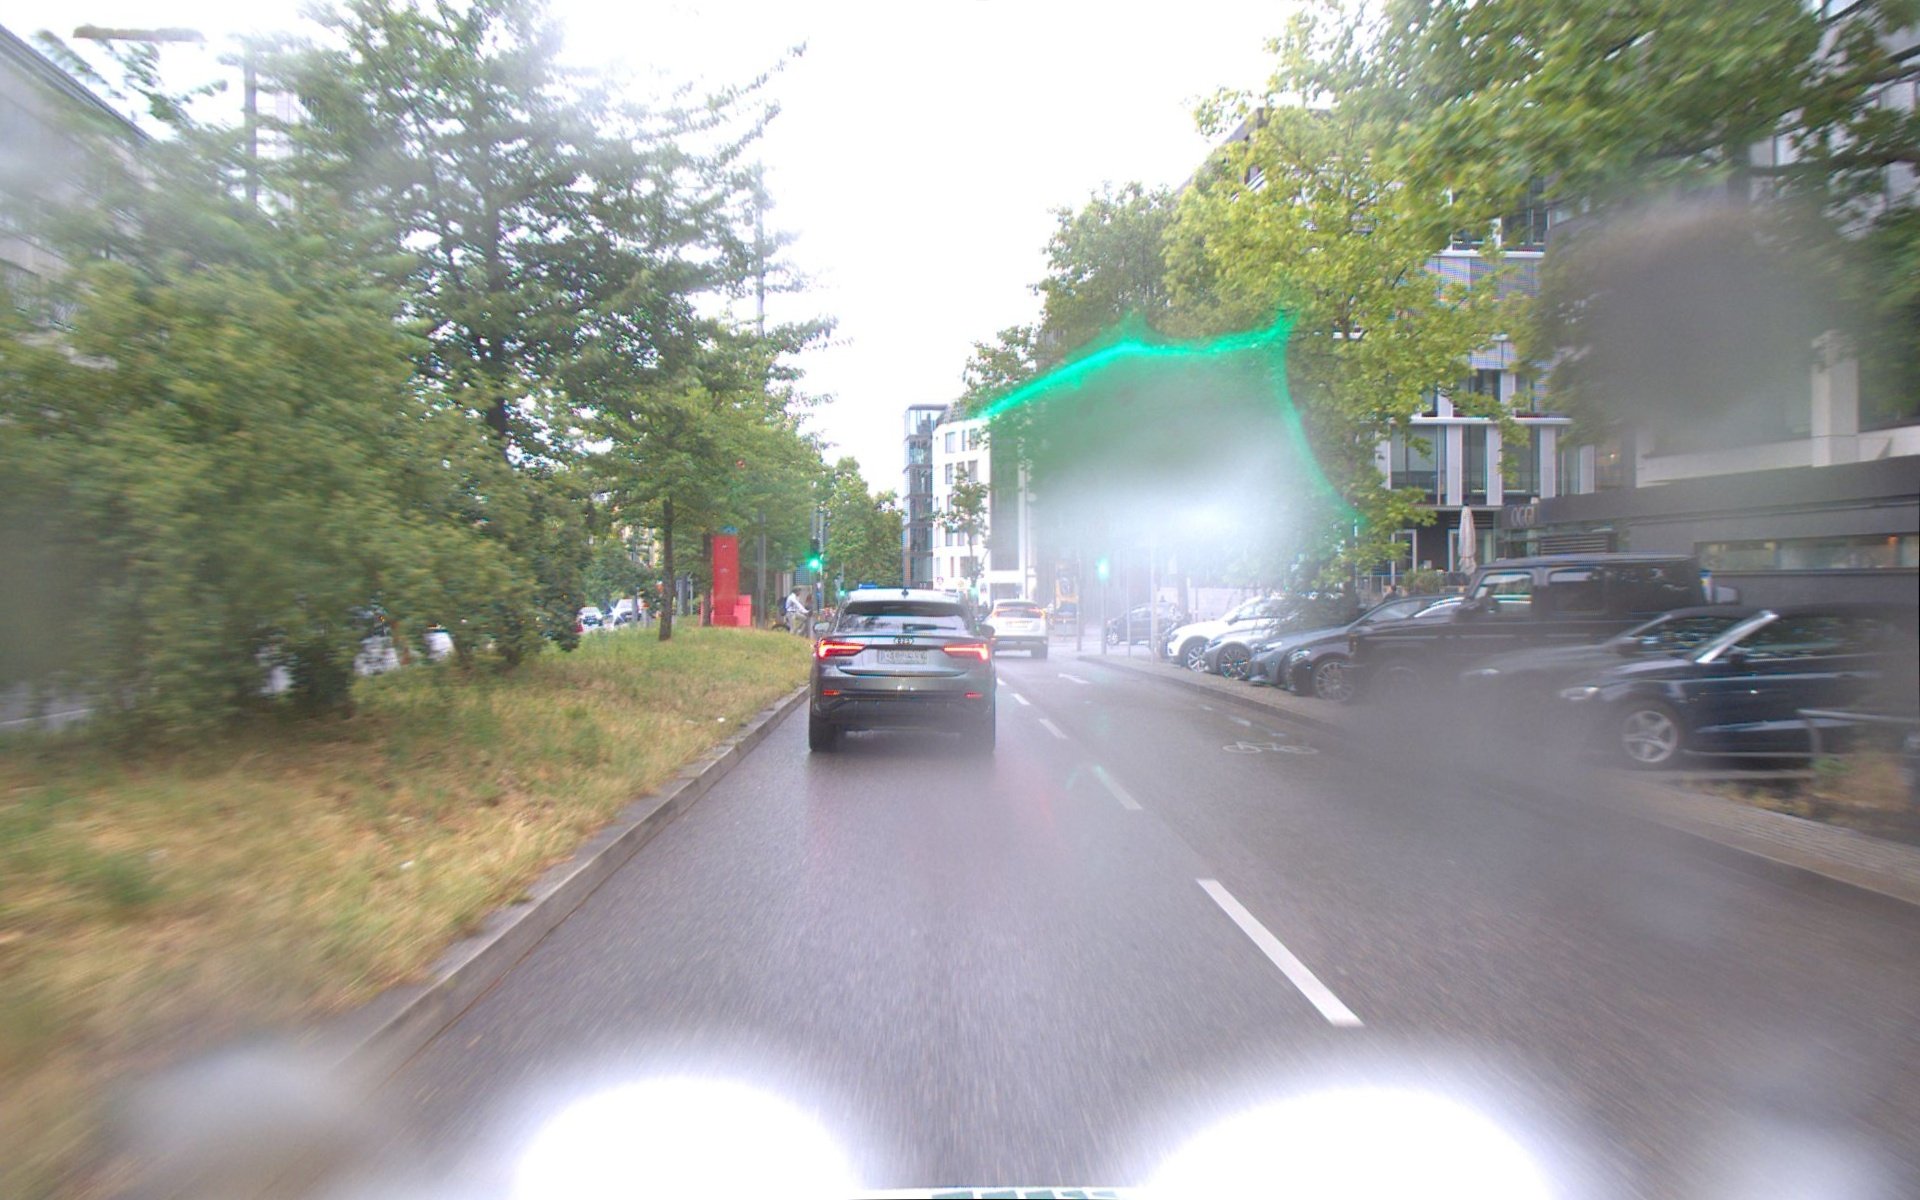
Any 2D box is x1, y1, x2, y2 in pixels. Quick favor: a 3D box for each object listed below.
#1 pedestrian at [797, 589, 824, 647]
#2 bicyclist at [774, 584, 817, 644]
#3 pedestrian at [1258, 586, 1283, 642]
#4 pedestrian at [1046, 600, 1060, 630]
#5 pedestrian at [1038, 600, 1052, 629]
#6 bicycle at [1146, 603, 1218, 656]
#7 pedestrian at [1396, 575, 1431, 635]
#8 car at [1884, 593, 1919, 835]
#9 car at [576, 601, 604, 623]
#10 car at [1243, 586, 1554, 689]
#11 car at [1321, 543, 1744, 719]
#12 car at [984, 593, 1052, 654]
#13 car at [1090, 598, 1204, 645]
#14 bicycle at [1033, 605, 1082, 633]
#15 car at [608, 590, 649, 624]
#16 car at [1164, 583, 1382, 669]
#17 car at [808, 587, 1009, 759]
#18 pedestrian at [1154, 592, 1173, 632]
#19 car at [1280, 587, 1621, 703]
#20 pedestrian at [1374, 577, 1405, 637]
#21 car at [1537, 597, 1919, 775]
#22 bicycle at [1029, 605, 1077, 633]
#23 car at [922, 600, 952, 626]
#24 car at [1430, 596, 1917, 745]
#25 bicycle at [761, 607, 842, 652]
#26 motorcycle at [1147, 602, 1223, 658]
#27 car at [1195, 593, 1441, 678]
[{"bbox_3d":[-4.741,0.580,52.480,0.647,1.825,0.751,1,-1,12],"label":"pedestrian"},{"bbox_3d":[-4.760,0.404,47.877,1.082,1.650,0.750,3,-1,-1],"label":"bicyclist"},{"bbox_3d":[12.067,0.555,64.270,0.916,2.152,1.076,1,-1,11],"label":"pedestrian"},{"bbox_3d":[6.545,1.052,116.492,0.838,2.049,0.975,1,-1,-6],"label":"pedestrian"},{"bbox_3d":[6.023,1.060,117.706,0.838,2.049,0.975,1,-1,-6],"label":"pedestrian"},{"bbox_3d":[6.218,0.835,46.339,1.940,1.440,0.726,1,-1,8],"label":"bicycle"},{"bbox_3d":[14.132,0.151,51.548,0.653,1.814,0.918,-3,-1,-5],"label":"pedestrian"},{"bbox_3d":[7.942,0.697,9.885,4.117,1.461,1.719,0,0,26],"label":"car"},{"bbox_3d":[-28.790,0.906,128.878,1.699,1.585,3.994,-2,1,-7],"label":"car"},{"bbox_3d":[7.007,0.600,26.698,4.673,1.561,1.871,-1,0,14],"label":"car"},{"bbox_3d":[7.193,0.380,20.877,4.839,2.013,1.928,-1,0,26],"label":"car"},{"bbox_3d":[1.657,0.658,48.250,1.811,1.698,4.038,1,0,0],"label":"car"},{"bbox_3d":[6.643,0.752,58.862,3.794,1.595,1.658,0,-1,42],"label":"car"},{"bbox_3d":[4.733,0.930,80.366,2.293,1.335,0.708,0,0,-8],"label":"bicycle"},{"bbox_3d":[-19.394,0.378,96.905,1.956,1.858,3.994,-2,1,-7],"label":"car"},{"bbox_3d":[6.537,0.544,34.586,4.135,1.698,1.837,-1,0,27],"label":"car"},{"bbox_3d":[-0.496,0.656,17.089,1.812,1.550,4.038,1,0,-1],"label":"car"},{"bbox_3d":[10.950,0.651,89.128,0.916,2.152,1.076,1,-1,11],"label":"pedestrian"},{"bbox_3d":[7.010,0.622,23.656,4.462,1.533,1.868,-1,0,24],"label":"car"},{"bbox_3d":[13.444,0.229,51.816,0.627,1.814,0.770,-3,-1,-3],"label":"pedestrian"},{"bbox_3d":[7.488,0.710,14.733,4.279,1.461,1.760,0,0,26],"label":"car"},{"bbox_3d":[4.629,0.945,82.291,2.293,1.335,0.708,0,0,-8],"label":"bicycle"},{"bbox_3d":[-1.441,0.821,104.101,1.811,1.550,4.038,1,0,0],"label":"car"},{"bbox_3d":[7.505,0.710,17.597,4.534,1.419,1.845,-1,-1,28],"label":"car"},{"bbox_3d":[-4.578,0.843,47.870,2.209,1.182,0.750,3,-1,-1],"label":"bicycle"},{"bbox_3d":[6.024,0.805,44.285,1.985,1.440,0.726,1,-1,8],"label":"motorcycle"},{"bbox_3d":[6.777,0.665,31.382,4.212,1.515,1.840,-1,0,29],"label":"car"}]
